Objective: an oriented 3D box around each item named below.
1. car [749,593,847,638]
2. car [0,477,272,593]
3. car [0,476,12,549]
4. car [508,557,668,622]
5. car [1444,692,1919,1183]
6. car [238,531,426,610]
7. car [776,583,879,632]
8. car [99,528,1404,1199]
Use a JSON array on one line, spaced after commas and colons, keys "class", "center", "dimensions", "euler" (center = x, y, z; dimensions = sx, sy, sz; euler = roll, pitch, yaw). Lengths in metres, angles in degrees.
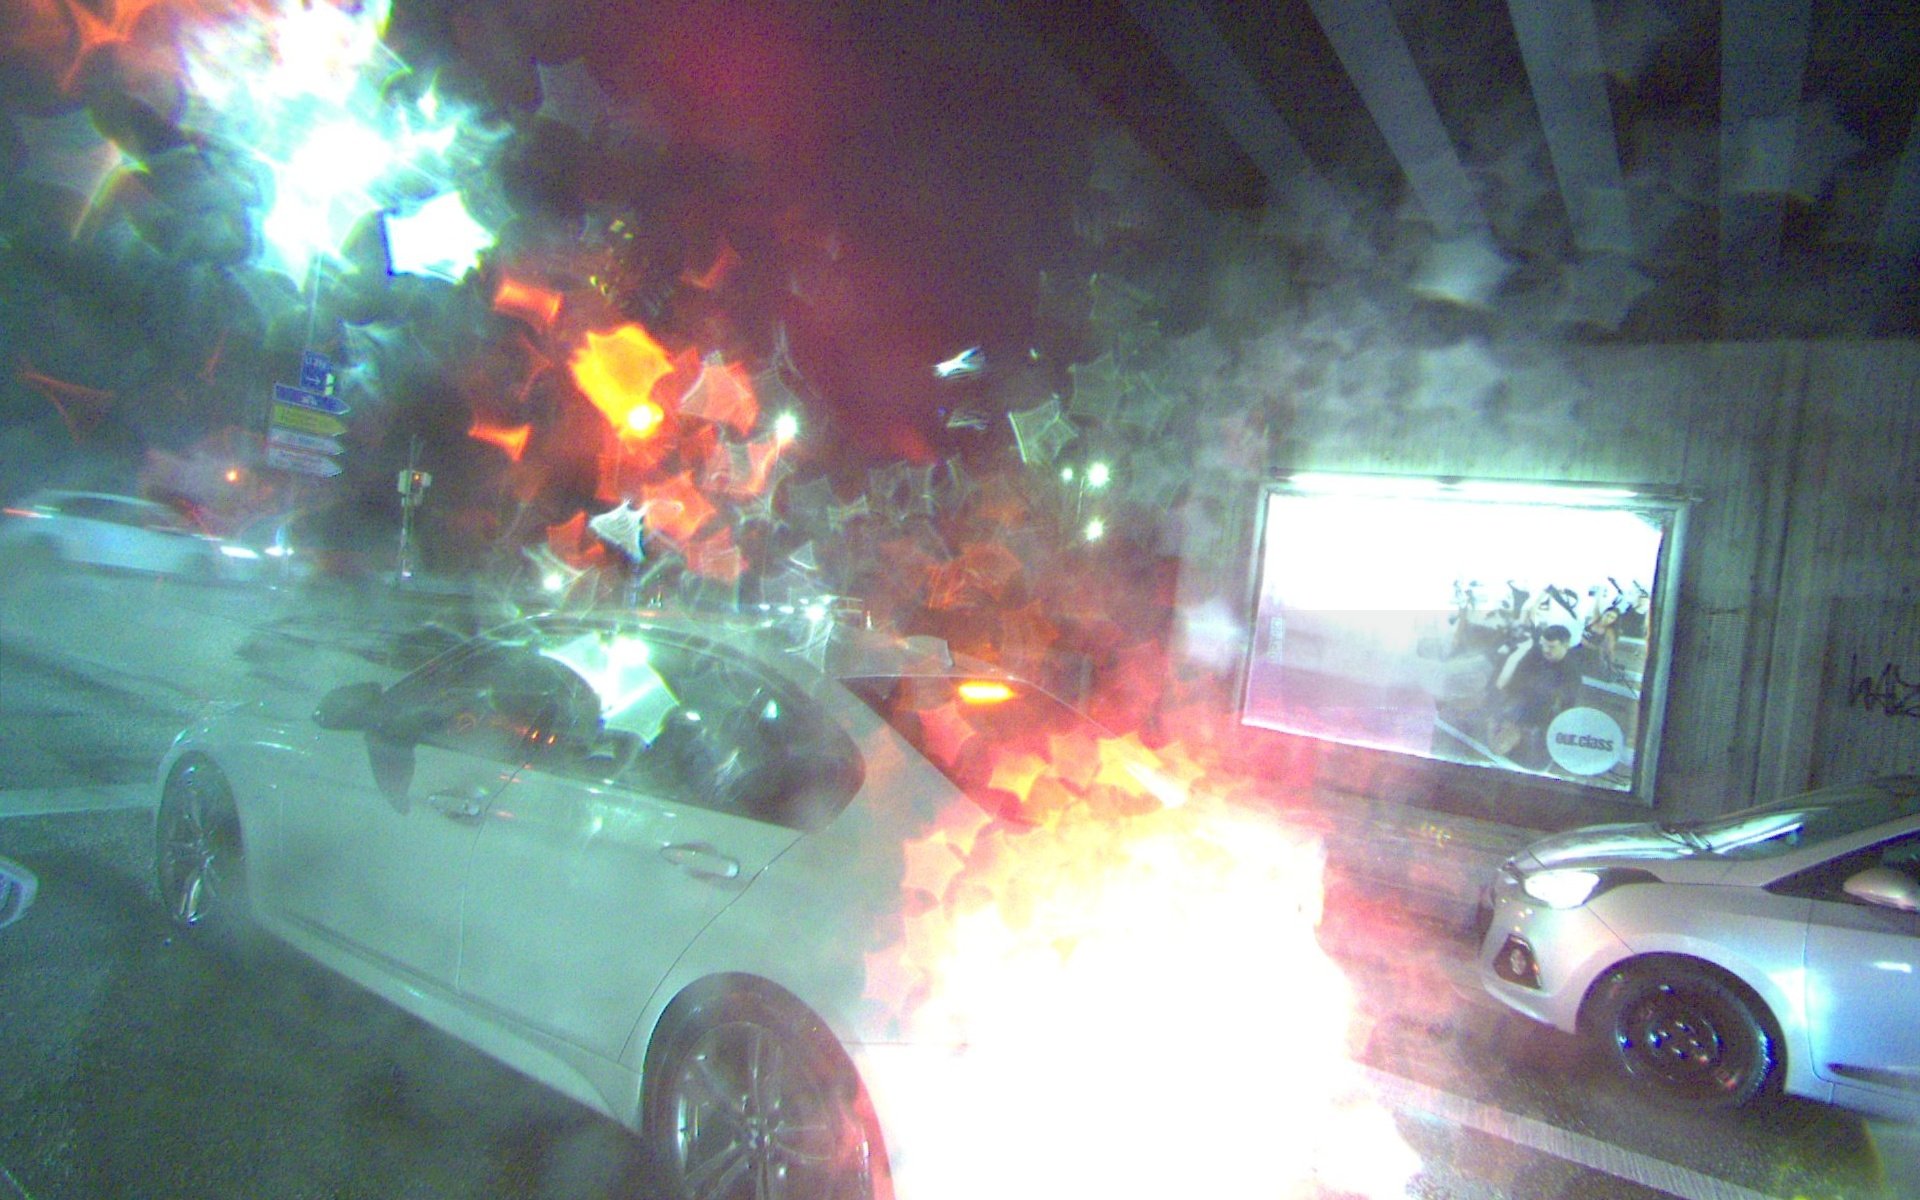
[{"class": "car", "center": [-7.648, 0.758, 47.813], "dimensions": [1.827, 1.609, 4.335], "euler": [6, -2, 40]}, {"class": "car", "center": [-16.725, -1.273, 19.819], "dimensions": [4.916, 1.628, 1.985], "euler": [8, -2, -30]}, {"class": "car", "center": [-26.325, -2.468, 25.118], "dimensions": [3.390, 1.859, 1.676], "euler": [8, -1, -28]}, {"class": "car", "center": [-12.773, -0.333, 34.829], "dimensions": [1.826, 1.609, 4.850], "euler": [6, -2, 38]}, {"class": "car", "center": [4.297, 1.395, 3.944], "dimensions": [4.092, 1.465, 1.722], "euler": [6, 0, 31]}, {"class": "car", "center": [-19.090, -0.867, 30.753], "dimensions": [1.954, 1.775, 4.341], "euler": [6, -2, 36]}, {"class": "car", "center": [-5.836, 0.348, 44.667], "dimensions": [1.827, 1.609, 4.335], "euler": [6, -2, 40]}, {"class": "car", "center": [-0.962, 0.705, 3.495], "dimensions": [4.309, 1.465, 1.722], "euler": [6, 0, 31]}]
